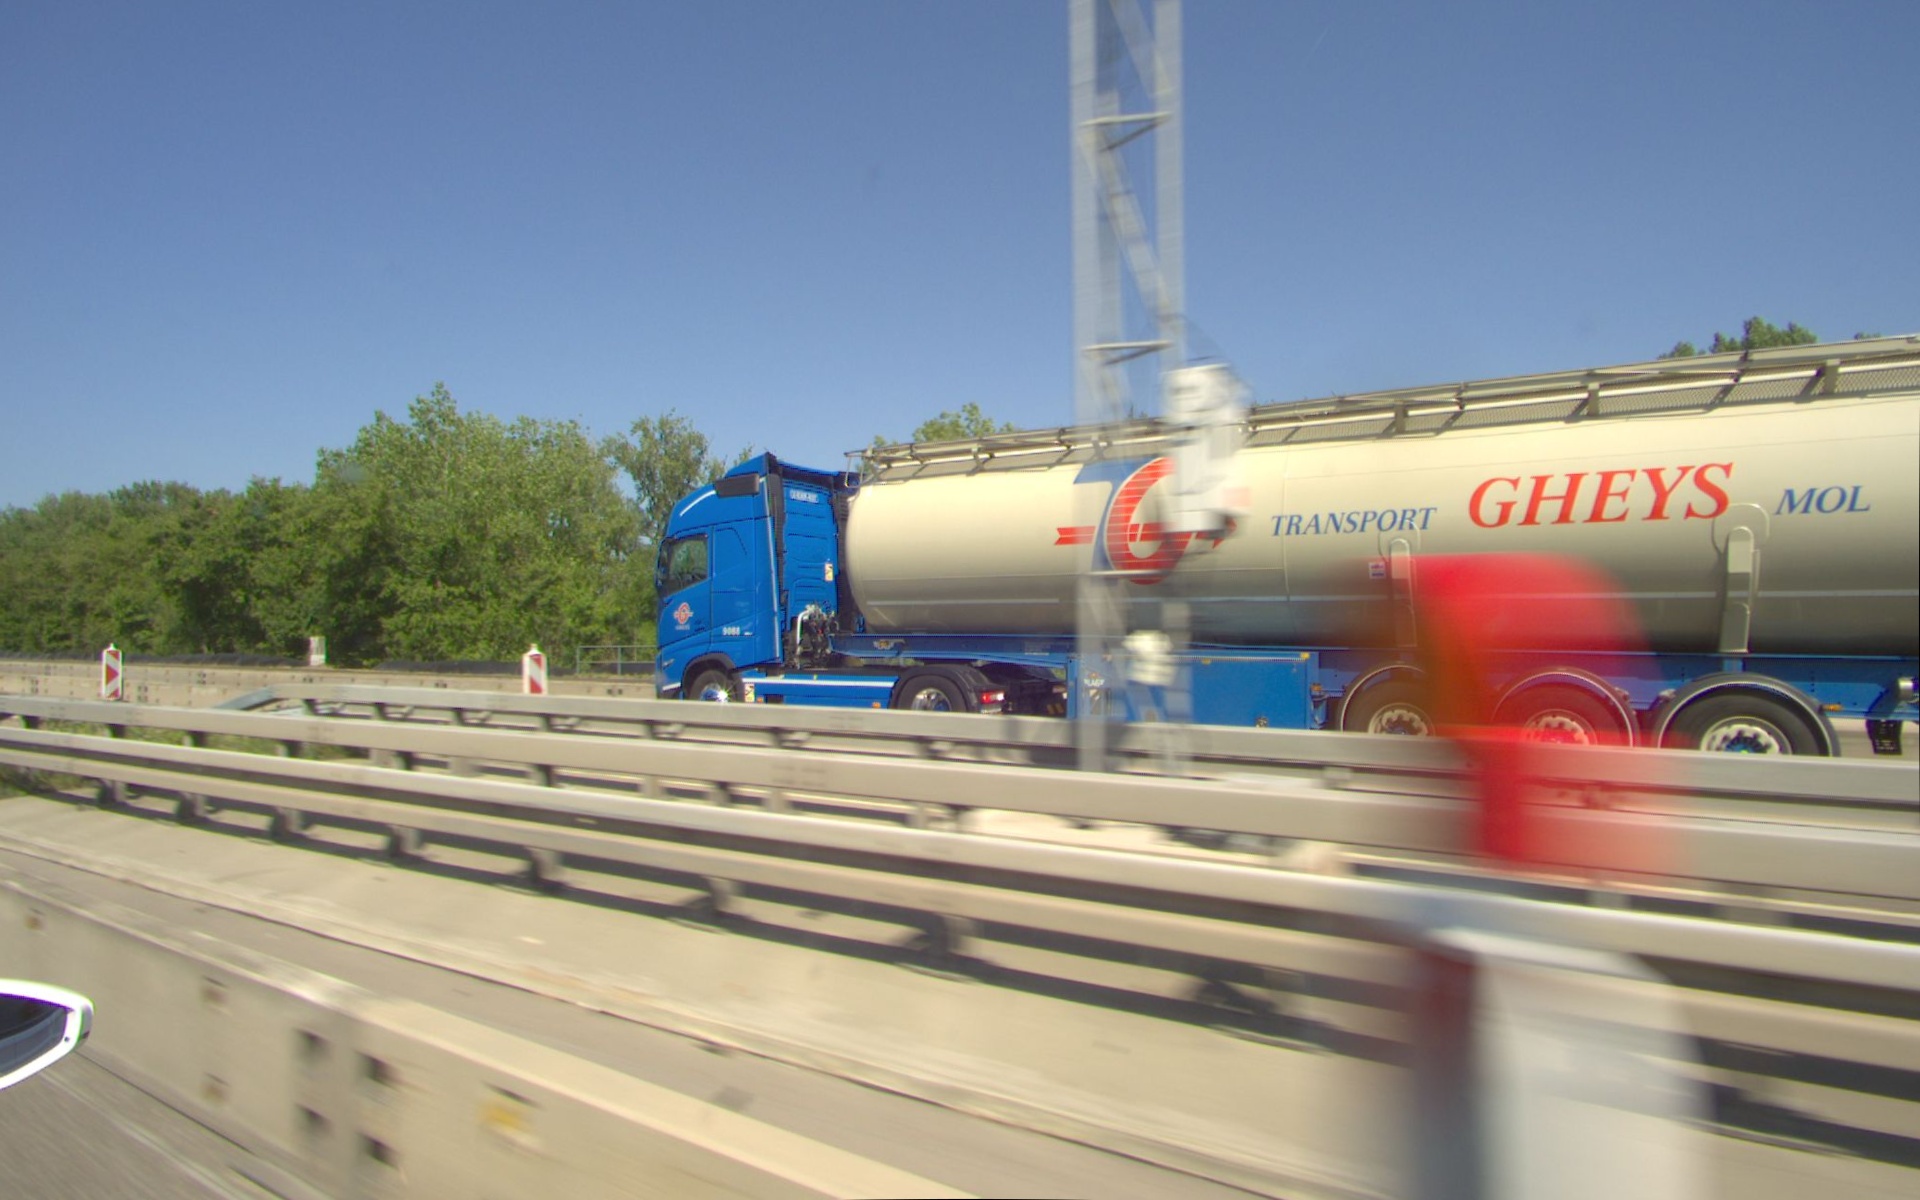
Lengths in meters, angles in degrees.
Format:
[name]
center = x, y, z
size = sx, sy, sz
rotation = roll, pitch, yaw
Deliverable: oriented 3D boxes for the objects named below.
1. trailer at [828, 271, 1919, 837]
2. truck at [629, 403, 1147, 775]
[trailer]
center = 4.244, -0.251, 10.827
size = 12.434, 4.191, 2.689
rotation = -1, -1, 32
[truck]
center = -1.226, -0.046, 14.265
size = 7.196, 4.156, 2.689
rotation = -1, -1, 32
